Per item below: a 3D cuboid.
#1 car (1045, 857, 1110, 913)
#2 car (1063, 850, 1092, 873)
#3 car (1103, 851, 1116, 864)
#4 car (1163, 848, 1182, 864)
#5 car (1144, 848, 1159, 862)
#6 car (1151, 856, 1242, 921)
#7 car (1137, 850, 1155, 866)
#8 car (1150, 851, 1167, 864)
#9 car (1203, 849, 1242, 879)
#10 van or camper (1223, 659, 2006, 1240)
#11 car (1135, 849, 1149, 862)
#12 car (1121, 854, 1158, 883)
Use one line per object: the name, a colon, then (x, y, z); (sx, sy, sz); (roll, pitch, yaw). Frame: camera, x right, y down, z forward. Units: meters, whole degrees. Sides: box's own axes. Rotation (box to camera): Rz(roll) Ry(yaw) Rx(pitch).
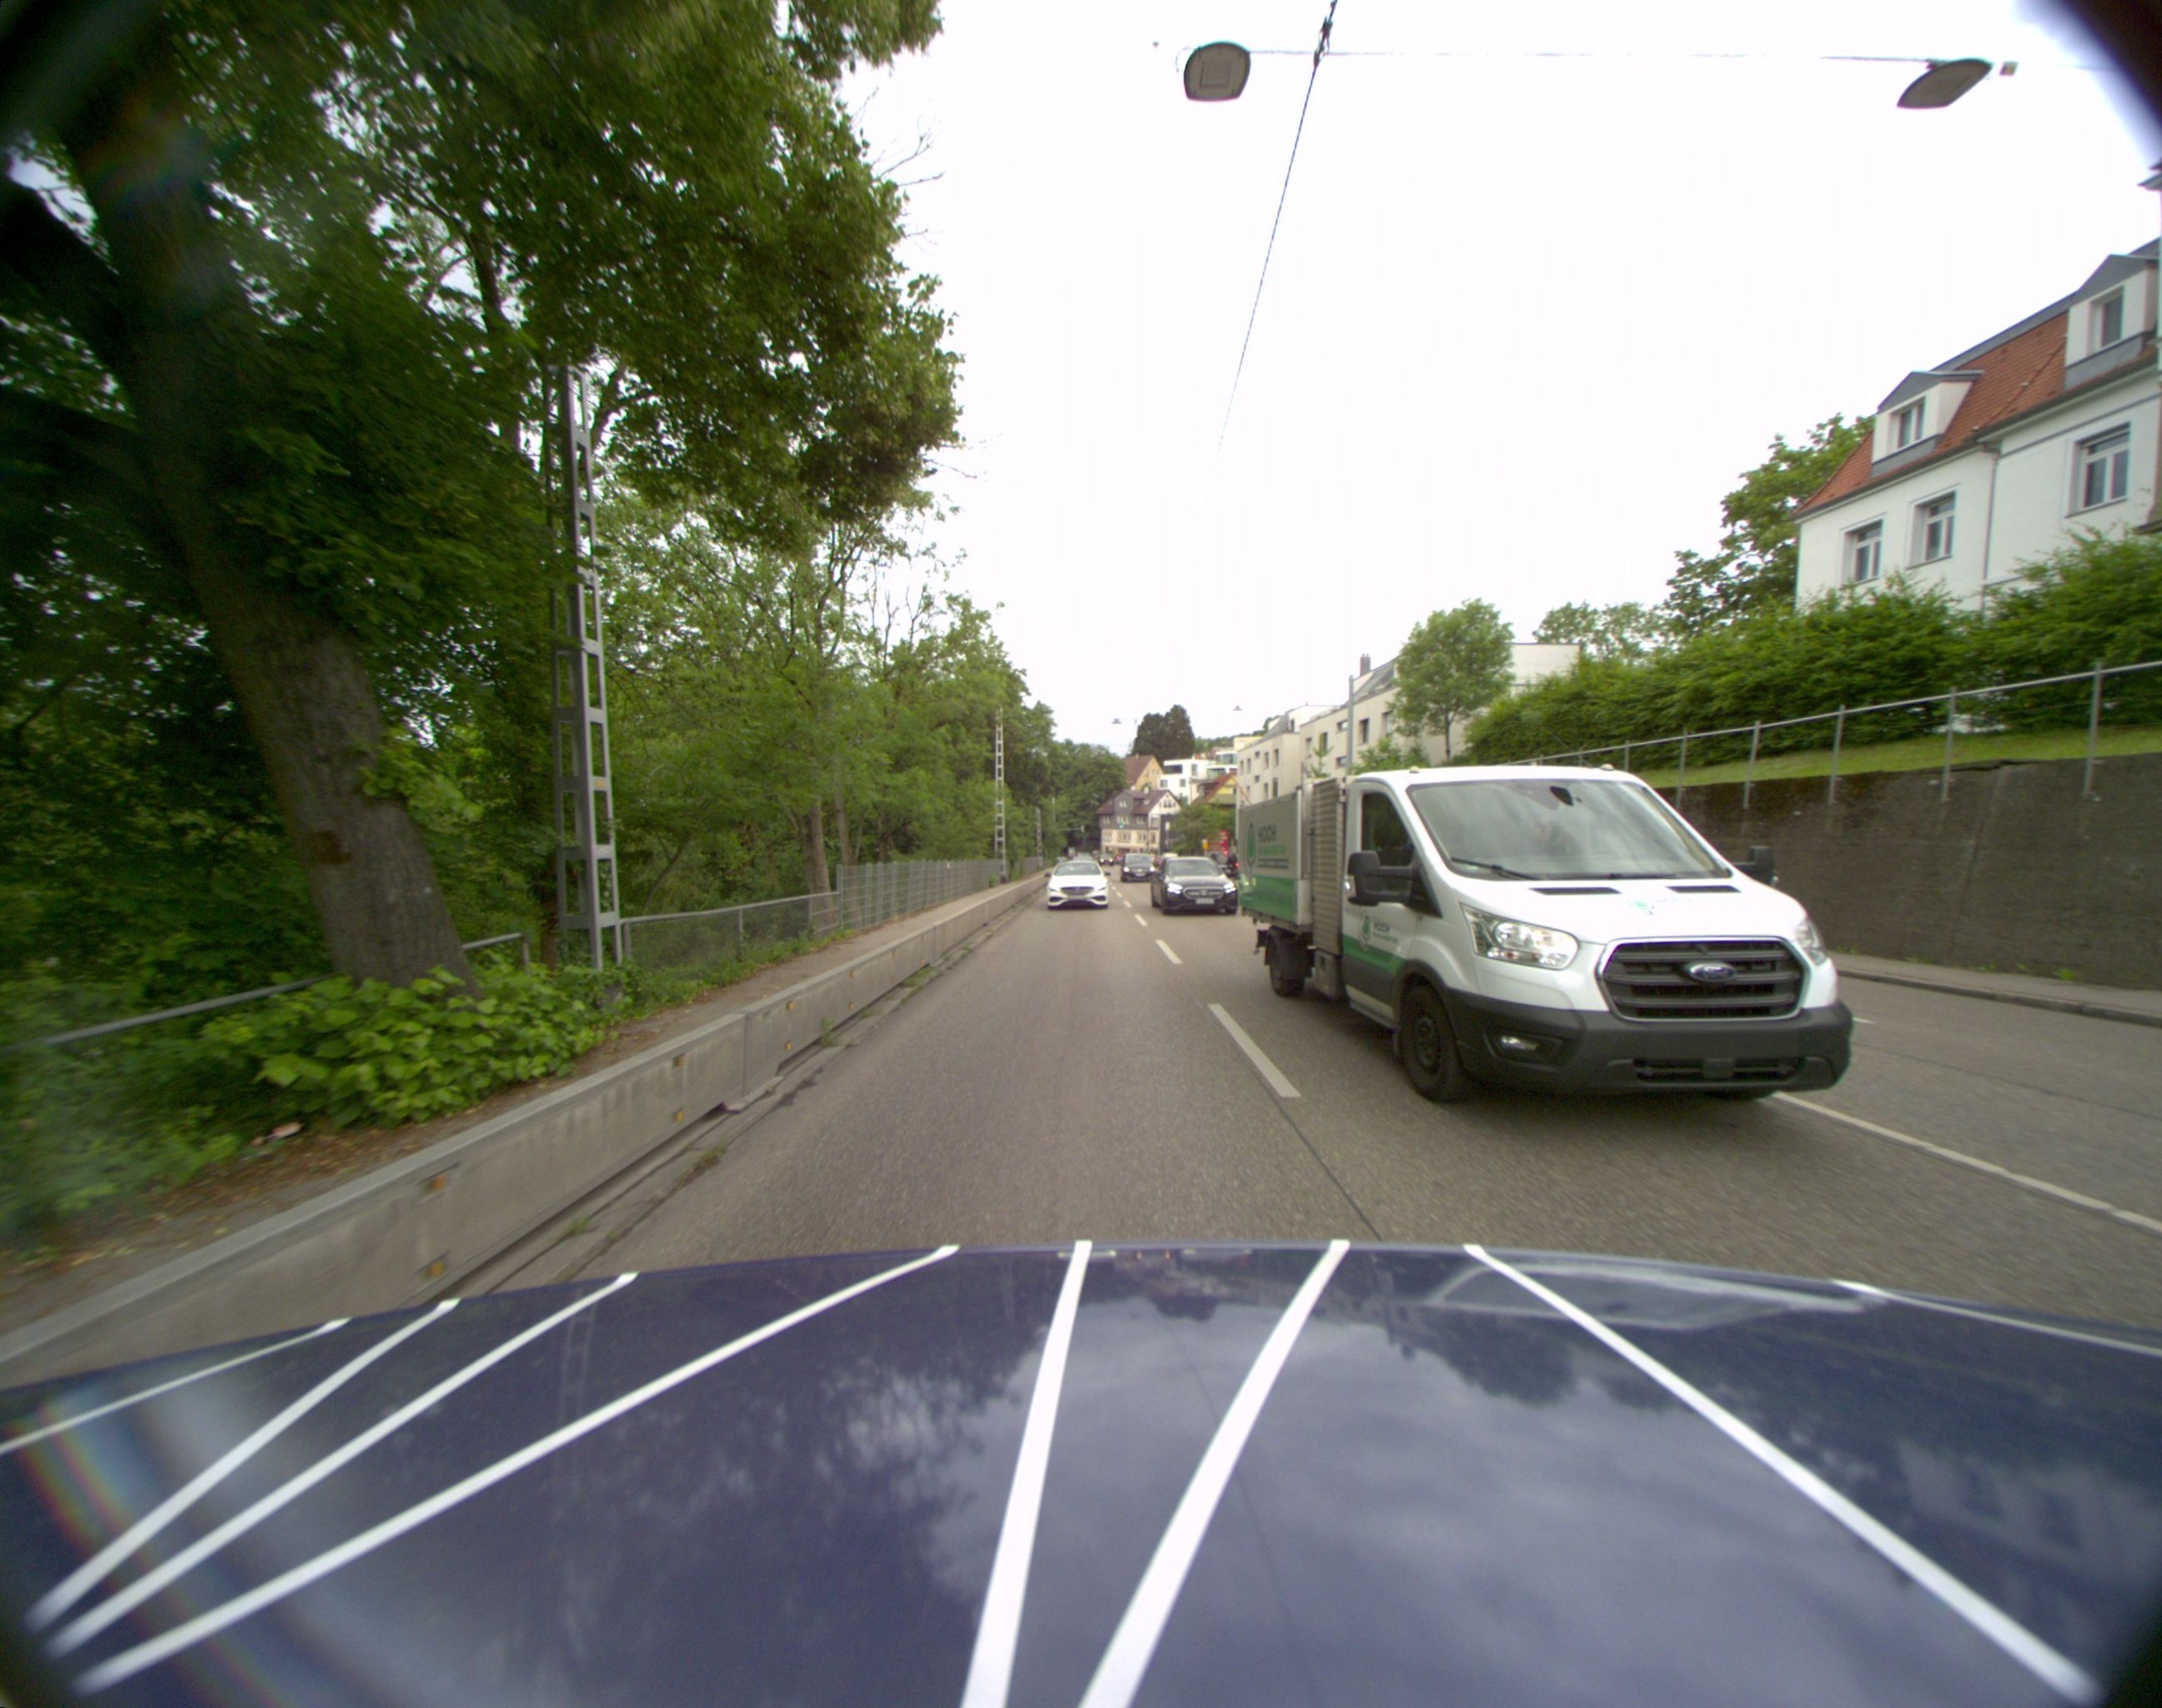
car: (-0.063, 0.879, 23.417); (1.809, 1.521, 4.000); (-1, 1, 1)
car: (-0.217, 0.489, 51.774); (1.878, 1.521, 4.000); (0, 1, 1)
car: (3.813, 0.477, 101.580); (1.709, 1.702, 3.868); (0, 0, 1)
car: (10.049, 0.203, 83.815); (1.709, 1.702, 3.868); (0, 0, 1)
car: (9.862, 0.102, 106.807); (1.743, 1.873, 3.743); (0, 0, 1)
car: (3.005, 0.846, 20.602); (1.878, 1.521, 4.335); (0, 1, 1)
car: (6.905, 0.418, 81.002); (1.709, 1.702, 3.868); (0, 0, 1)
car: (9.712, 0.393, 95.461); (1.743, 1.608, 3.743); (0, 0, 1)
car: (9.457, 0.637, 51.213); (1.836, 1.831, 4.207); (2, 1, 1)
van or camper: (3.081, 0.424, 6.523); (2.349, 2.646, 5.963); (-1, 0, -2)
car: (9.117, 0.230, 114.045); (1.743, 1.873, 3.743); (0, 0, 1)
car: (3.323, 0.778, 43.520); (1.878, 1.521, 4.000); (0, 1, 1)
